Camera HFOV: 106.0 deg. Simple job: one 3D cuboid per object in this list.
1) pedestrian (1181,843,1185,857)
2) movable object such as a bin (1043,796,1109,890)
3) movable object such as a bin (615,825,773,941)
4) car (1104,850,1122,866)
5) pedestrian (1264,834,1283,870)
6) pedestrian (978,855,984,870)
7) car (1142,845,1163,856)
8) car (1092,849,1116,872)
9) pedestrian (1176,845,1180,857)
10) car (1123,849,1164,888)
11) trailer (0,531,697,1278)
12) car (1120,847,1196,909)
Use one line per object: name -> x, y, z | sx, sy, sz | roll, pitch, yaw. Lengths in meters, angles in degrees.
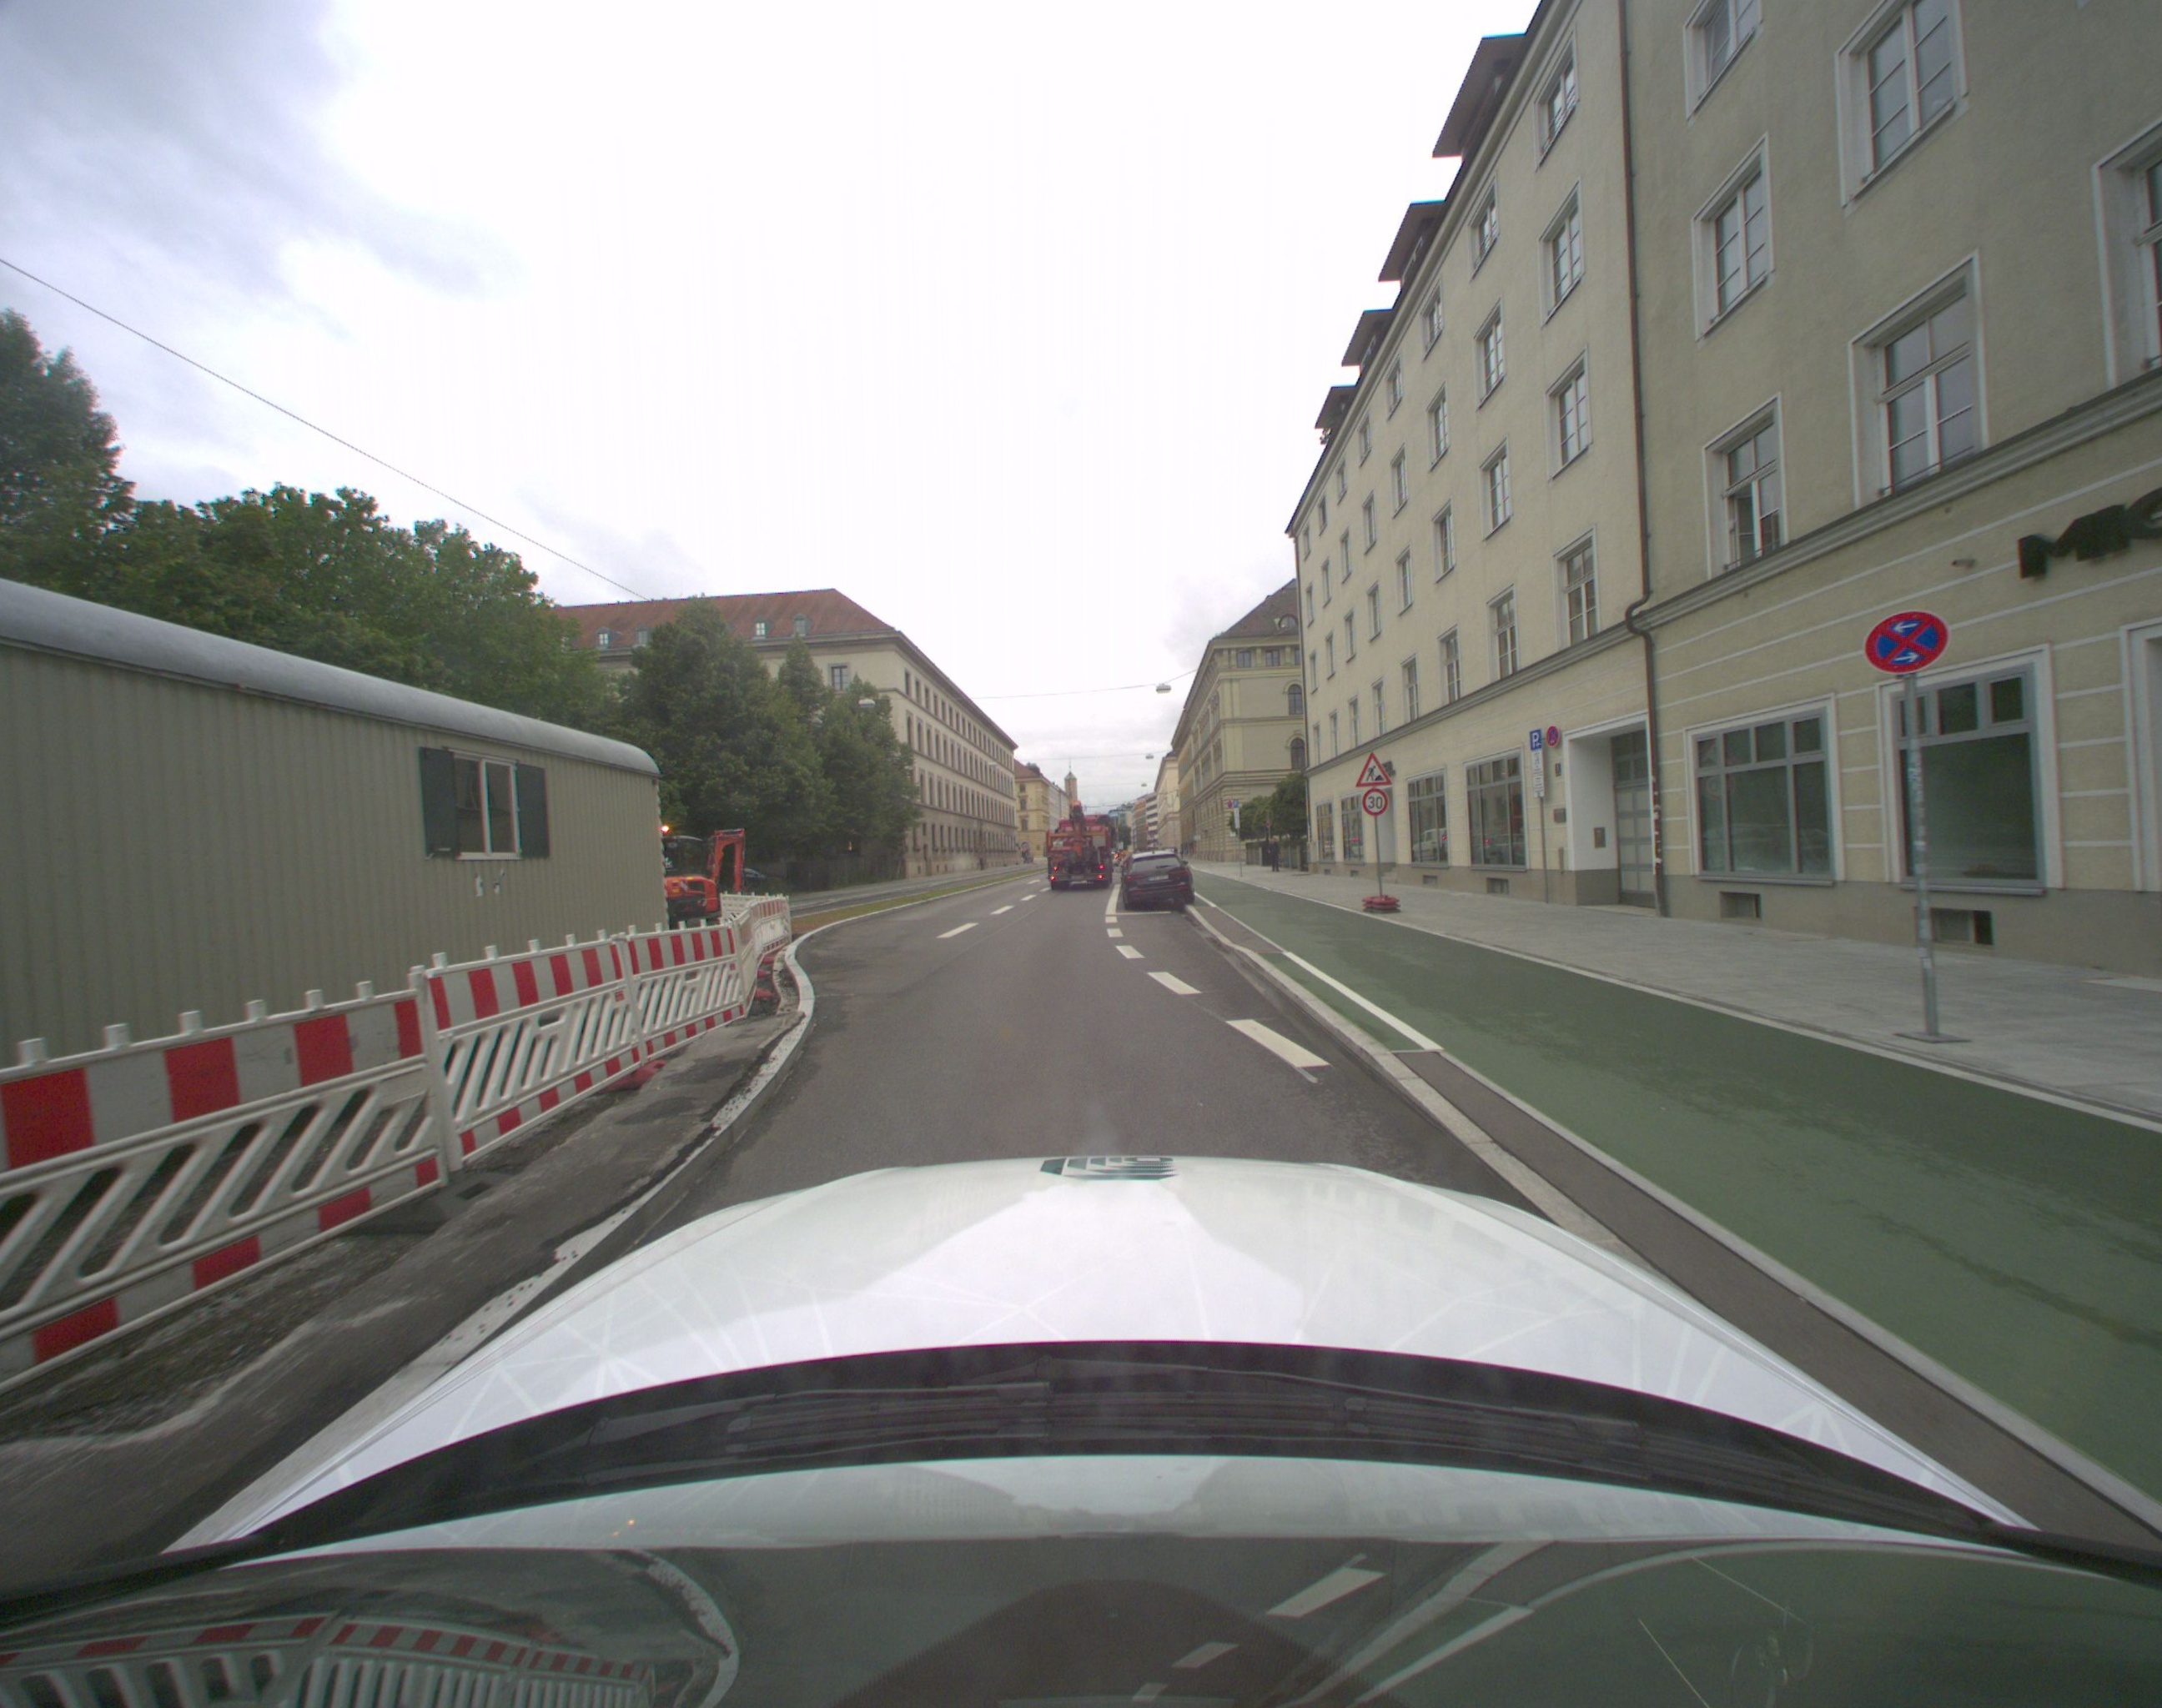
pedestrian -> 14.398, -0.556, 114.945 | 0.443, 1.836, 0.557 | -3, 0, 4
movable object such as a bin -> -0.090, -0.453, 34.895 | 2.414, 3.611, 5.855 | -2, 0, 2
movable object such as a bin -> -10.092, 0.687, 21.716 | 1.989, 2.641, 4.661 | -3, 0, -3
car -> 3.198, 0.346, 81.438 | 1.603, 1.495, 3.427 | -3, 0, 3
pedestrian -> 10.276, -0.112, 43.459 | 0.786, 1.836, 0.778 | -3, 0, 4
pedestrian -> -12.249, 1.069, 99.366 | 0.586, 1.831, 0.499 | -2, 0, 2
car -> 13.663, -0.654, 155.380 | 3.968, 1.819, 1.898 | -3, 0, 5
car -> 1.679, 0.449, 58.927 | 1.603, 1.495, 3.427 | -3, 0, 3
pedestrian -> 13.690, -0.435, 114.995 | 0.336, 1.672, 0.440 | -3, 0, 4
car -> 2.638, 0.565, 34.751 | 1.603, 1.495, 3.427 | -3, 0, 3
trailer -> -5.874, 0.239, 6.318 | 2.221, 3.243, 7.514 | -3, 0, -1
car -> 2.057, 0.583, 22.819 | 1.795, 1.480, 4.690 | -3, 0, 2
